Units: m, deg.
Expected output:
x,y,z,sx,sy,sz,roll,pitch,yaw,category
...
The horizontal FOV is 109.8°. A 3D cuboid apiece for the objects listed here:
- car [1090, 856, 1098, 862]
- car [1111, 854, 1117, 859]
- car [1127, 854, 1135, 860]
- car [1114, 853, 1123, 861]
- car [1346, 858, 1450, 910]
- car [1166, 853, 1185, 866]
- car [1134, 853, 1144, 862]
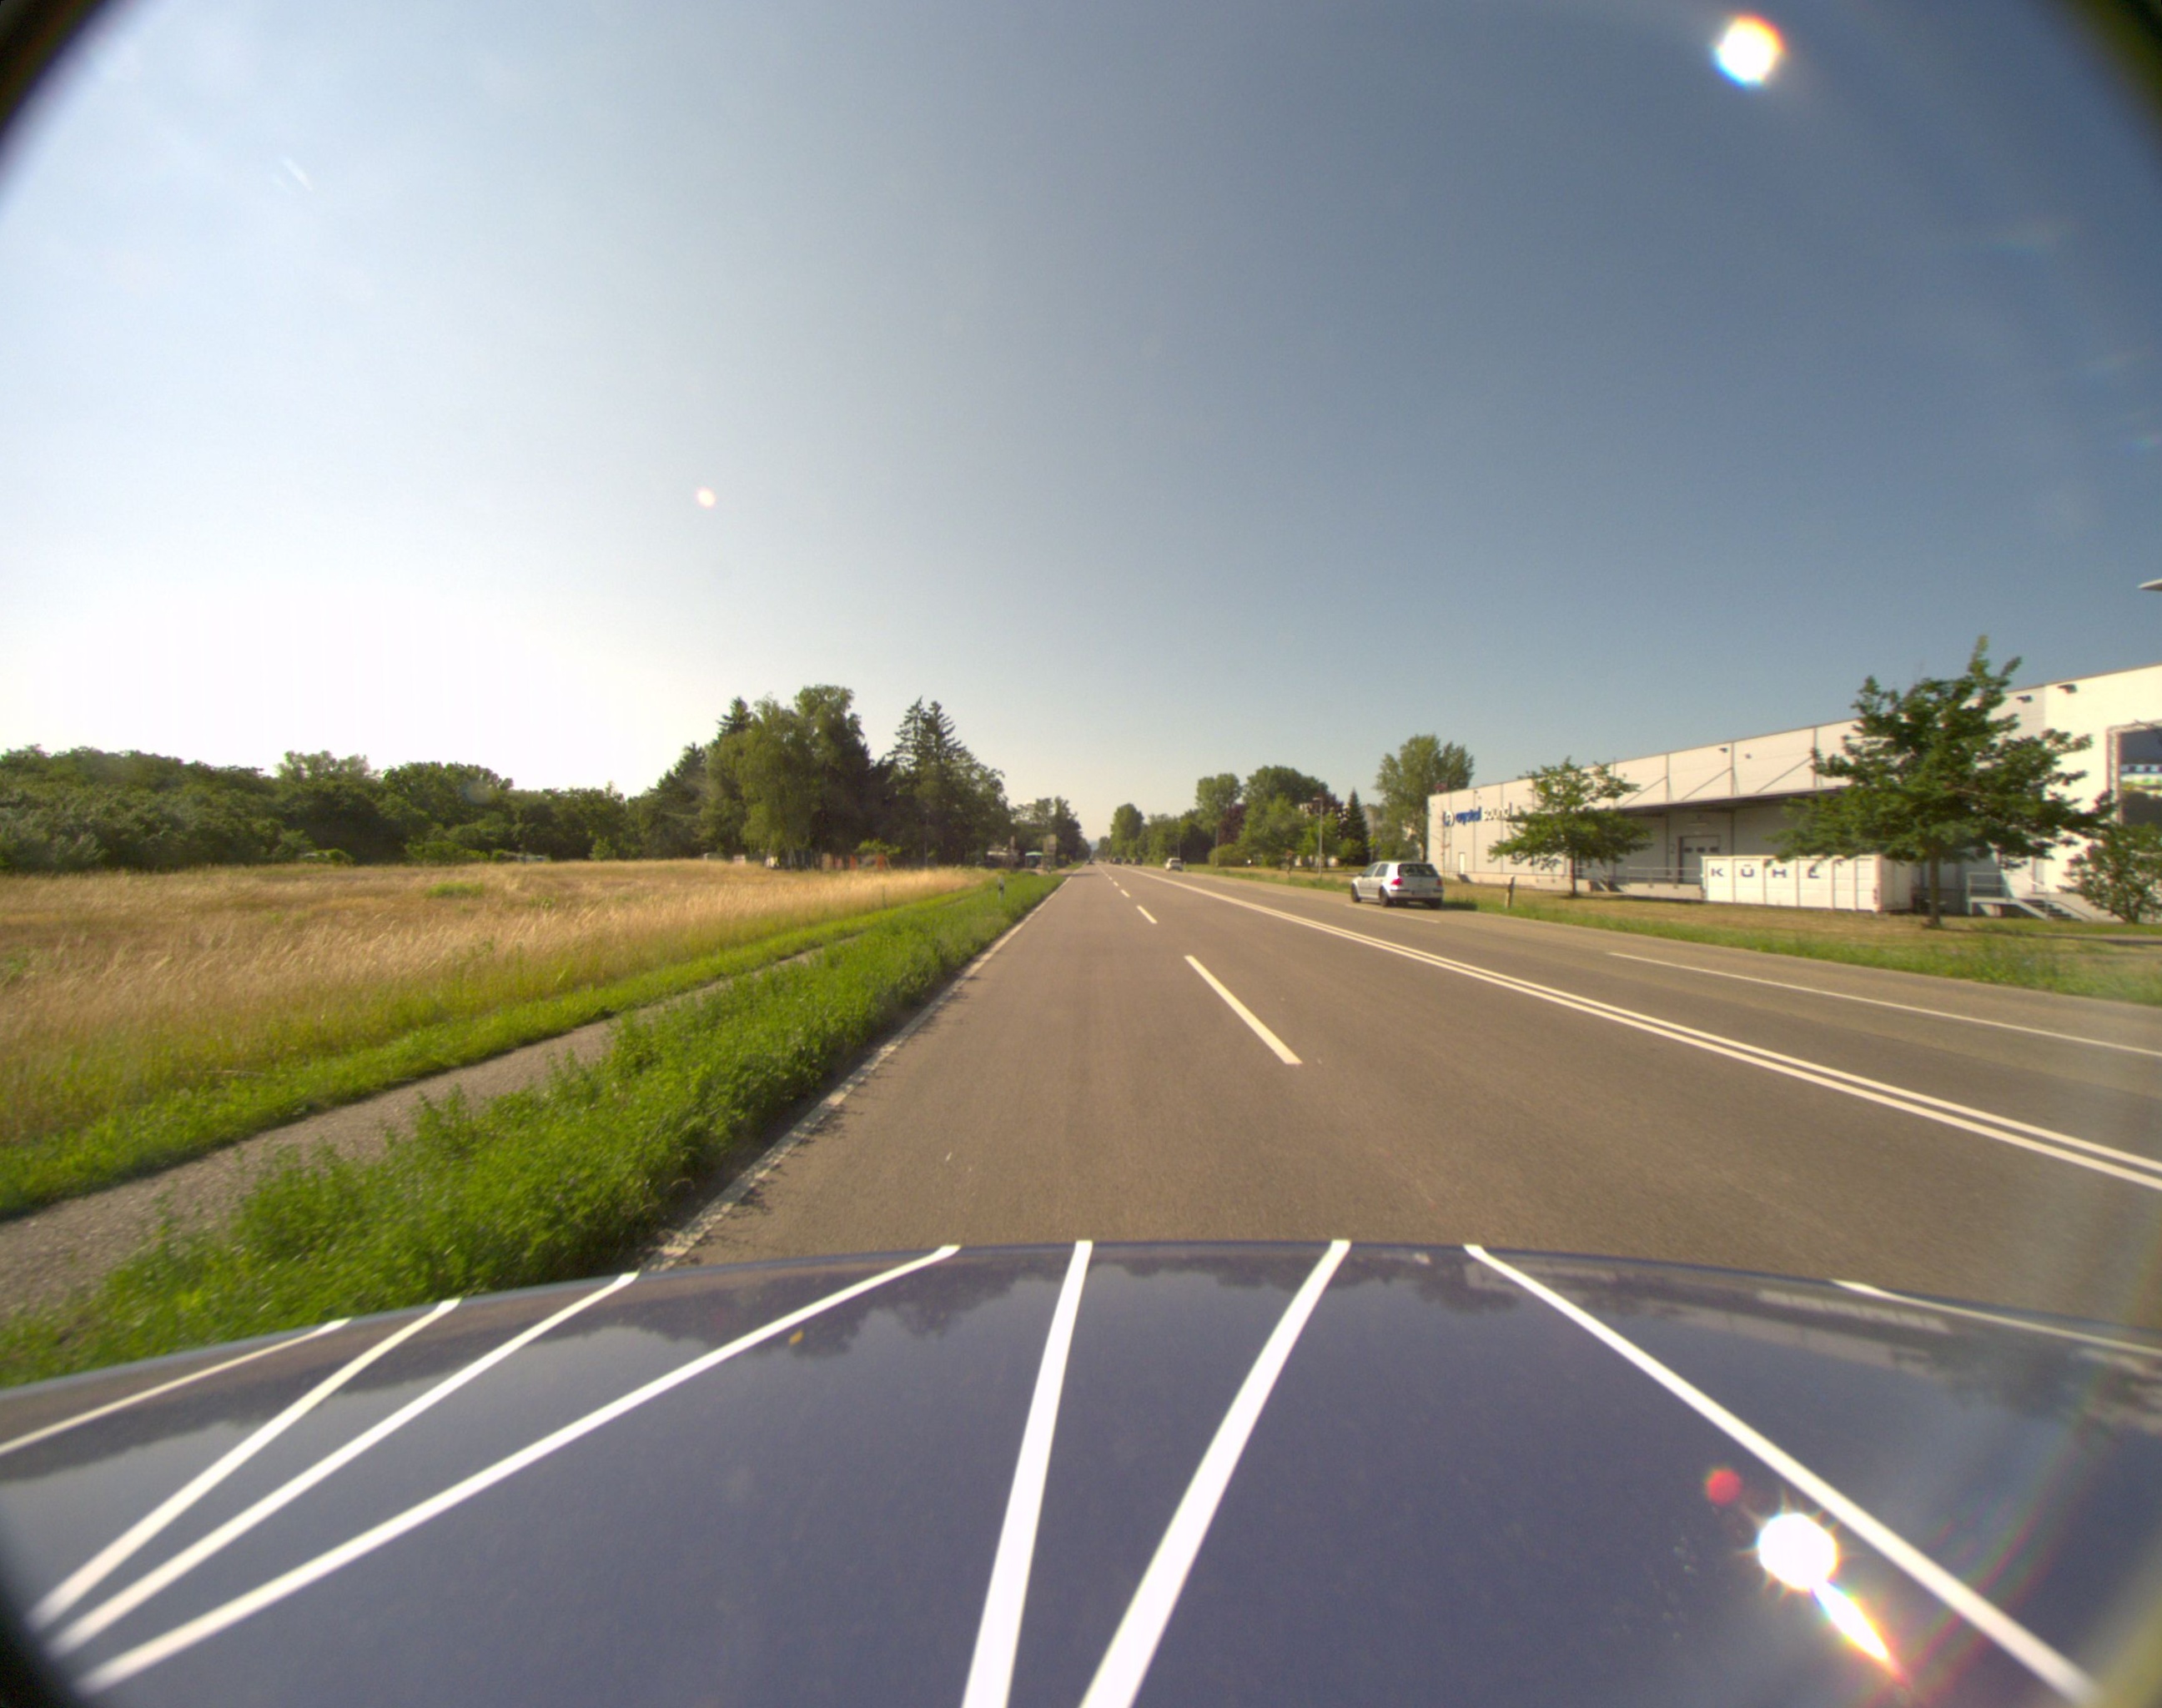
x,y,z,sx,sy,sz,roll,pitch,yaw,category
3.055,1.247,178.662,1.768,1.403,4.001,0,-1,2,car
9.933,0.664,226.552,1.654,1.489,3.844,2,0,1,car
12.544,0.815,192.270,1.656,1.472,4.740,2,0,0,car
8.225,0.703,166.493,1.776,1.704,4.569,2,0,1,car
9.920,0.875,24.105,1.602,1.434,4.000,2,0,0,car
10.733,0.617,86.681,1.663,1.429,3.735,2,0,0,car
11.622,0.689,153.453,1.733,1.552,4.215,2,0,1,car
